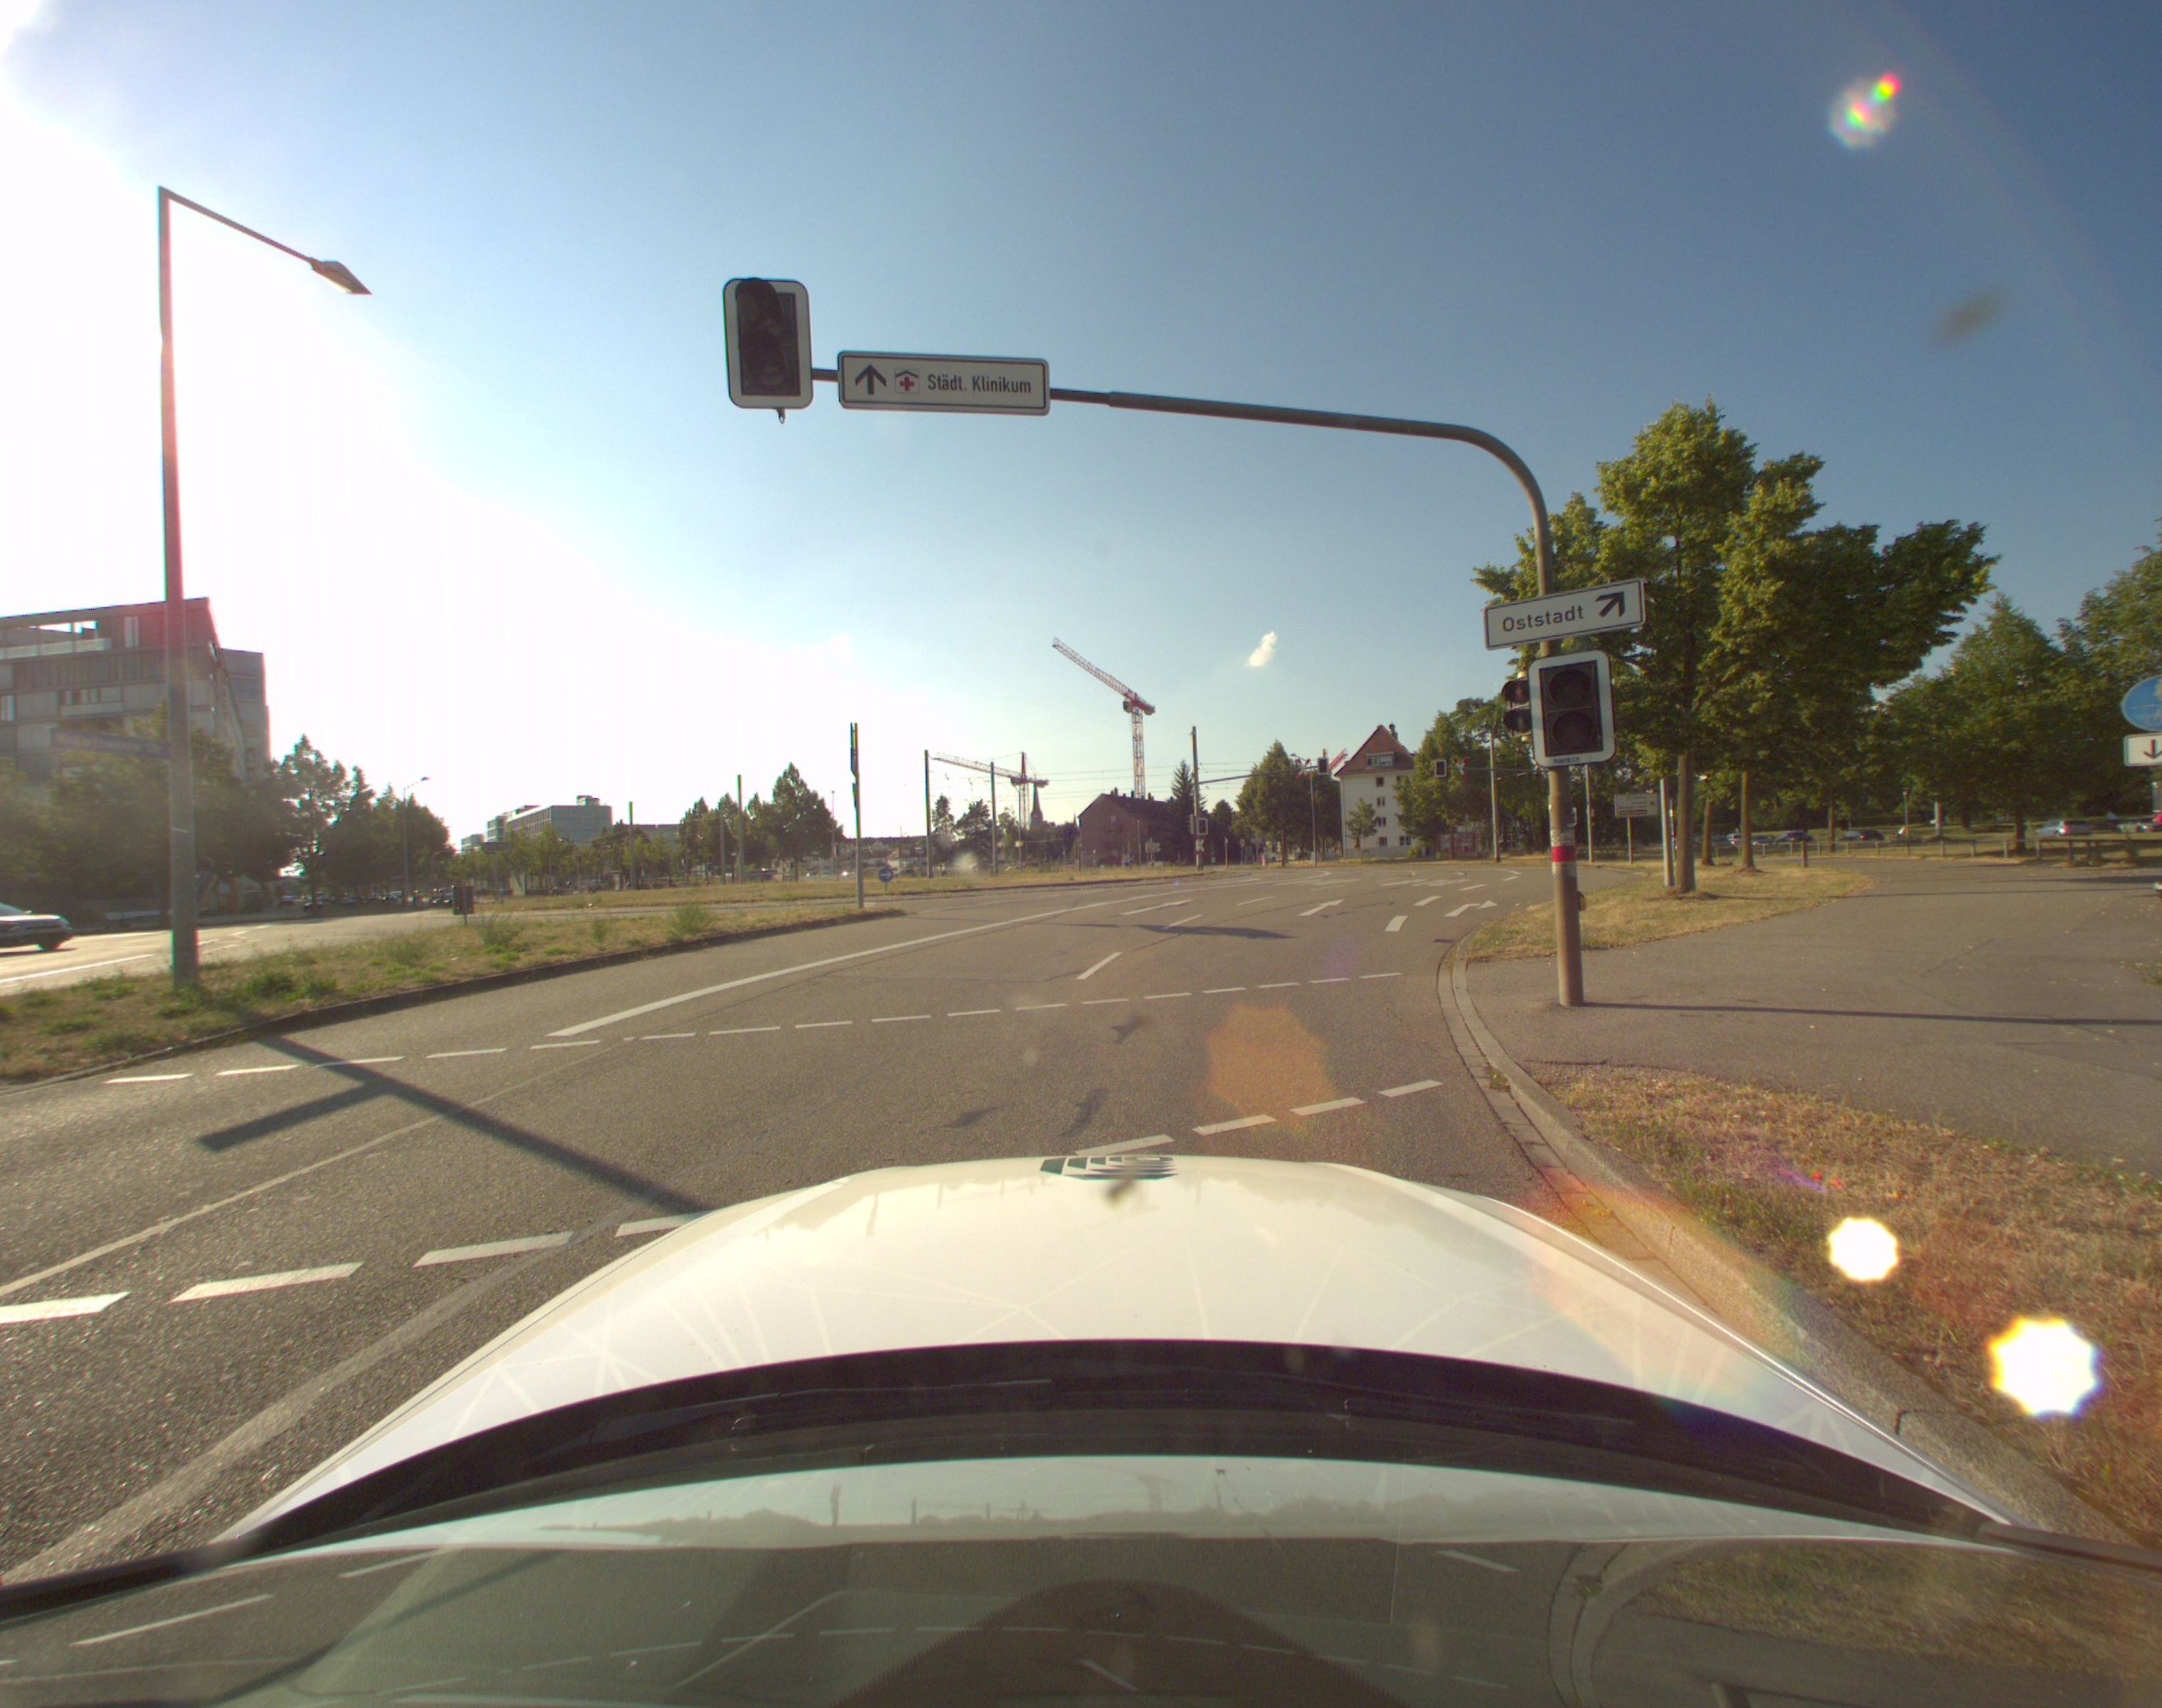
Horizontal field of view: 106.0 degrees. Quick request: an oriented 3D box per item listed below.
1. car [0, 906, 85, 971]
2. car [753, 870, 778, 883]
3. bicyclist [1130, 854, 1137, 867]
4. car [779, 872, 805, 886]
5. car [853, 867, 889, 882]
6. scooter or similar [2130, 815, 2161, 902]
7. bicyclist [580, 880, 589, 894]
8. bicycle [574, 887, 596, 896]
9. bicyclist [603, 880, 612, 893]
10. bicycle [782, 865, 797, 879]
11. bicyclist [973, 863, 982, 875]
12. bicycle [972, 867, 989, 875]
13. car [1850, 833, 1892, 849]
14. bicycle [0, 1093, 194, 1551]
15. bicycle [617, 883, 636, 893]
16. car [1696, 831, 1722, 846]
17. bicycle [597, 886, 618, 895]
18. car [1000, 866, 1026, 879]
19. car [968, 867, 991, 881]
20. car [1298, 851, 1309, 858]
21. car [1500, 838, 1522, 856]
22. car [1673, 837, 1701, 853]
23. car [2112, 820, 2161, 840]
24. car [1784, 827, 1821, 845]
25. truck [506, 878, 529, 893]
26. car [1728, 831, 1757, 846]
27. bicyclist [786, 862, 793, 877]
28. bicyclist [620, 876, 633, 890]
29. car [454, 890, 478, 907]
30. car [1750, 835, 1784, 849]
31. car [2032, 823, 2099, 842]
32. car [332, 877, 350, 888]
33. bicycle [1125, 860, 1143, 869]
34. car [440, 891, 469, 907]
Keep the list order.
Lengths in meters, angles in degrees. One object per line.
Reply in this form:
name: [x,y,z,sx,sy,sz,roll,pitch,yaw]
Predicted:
car: [-31.307,2.437,23.292,4.159,1.673,1.782,-2,0,11]
car: [-53.169,3.841,137.226,3.948,2.013,2.013,-3,0,36]
bicyclist: [6.143,0.758,95.364,0.621,1.511,0.418,-2,0,-4]
car: [-46.878,4.043,132.100,3.948,2.013,2.013,-3,0,36]
car: [-26.930,2.610,104.296,4.013,1.816,1.980,-2,0,-30]
scooter or similar: [15.396,0.036,11.484,1.172,1.160,0.340,-4,-3,-23]
bicyclist: [-47.891,3.220,78.552,0.658,1.325,0.512,-2,-1,-45]
bicycle: [-47.876,3.615,78.541,0.474,0.744,1.732,-3,0,45]
bicyclist: [-47.077,3.241,81.004,0.658,1.325,0.512,-2,-1,-45]
bicycle: [-33.334,2.028,93.061,1.544,1.473,0.476,-2,0,-20]
bicyclist: [-12.331,1.771,97.146,0.895,1.396,0.525,-2,0,-4]
bicycle: [-12.014,2.024,97.095,1.983,0.825,0.429,-2,0,-4]
car: [67.075,-1.083,69.193,1.586,1.310,3.993,-3,-1,30]
bicycle: [-2.600,1.072,1.204,0.476,0.876,1.857,-2,0,2]
bicycle: [-46.427,3.468,83.223,1.627,0.860,0.539,-2,0,-38]
car: [64.645,-1.583,83.849,1.586,1.402,3.993,-3,-1,30]
bicycle: [-47.082,3.636,81.011,0.474,0.744,1.732,-3,0,45]
car: [-11.127,3.059,132.864,3.776,2.014,1.680,-3,-1,20]
car: [-14.585,2.860,116.631,1.930,1.854,3.964,-2,0,-27]
car: [44.464,0.181,162.631,1.442,1.300,3.569,-3,0,26]
car: [42.892,-0.697,81.228,1.754,1.618,3.993,-3,-1,30]
car: [56.177,-0.843,75.507,1.586,1.402,3.993,-3,-1,30]
car: [82.566,-1.866,63.051,1.804,1.403,4.023,-3,-1,26]
car: [63.076,-1.548,71.236,1.586,1.402,3.993,-3,-1,30]
truck: [-129.589,7.185,187.135,3.156,3.231,7.085,-2,-1,-44]
car: [67.150,-1.579,82.717,1.586,1.402,3.993,-3,-1,30]
bicyclist: [-33.309,1.785,93.081,0.608,1.672,0.475,-2,-1,-20]
bicyclist: [-46.486,2.980,83.326,0.962,1.357,0.685,-2,-1,-40]
car: [-58.571,4.204,77.558,1.493,1.475,3.260,-2,0,-42]
car: [61.451,-1.054,72.999,1.586,1.221,3.993,-3,-1,30]
car: [78.159,-1.682,64.728,1.804,1.403,4.023,-3,-1,26]
car: [-110.445,4.241,121.490,1.800,1.556,3.950,0,-1,-45]
bicycle: [6.203,1.230,95.364,1.983,0.918,0.429,-2,0,-4]
car: [-63.591,4.509,82.620,2.011,1.475,3.952,-2,0,-42]
